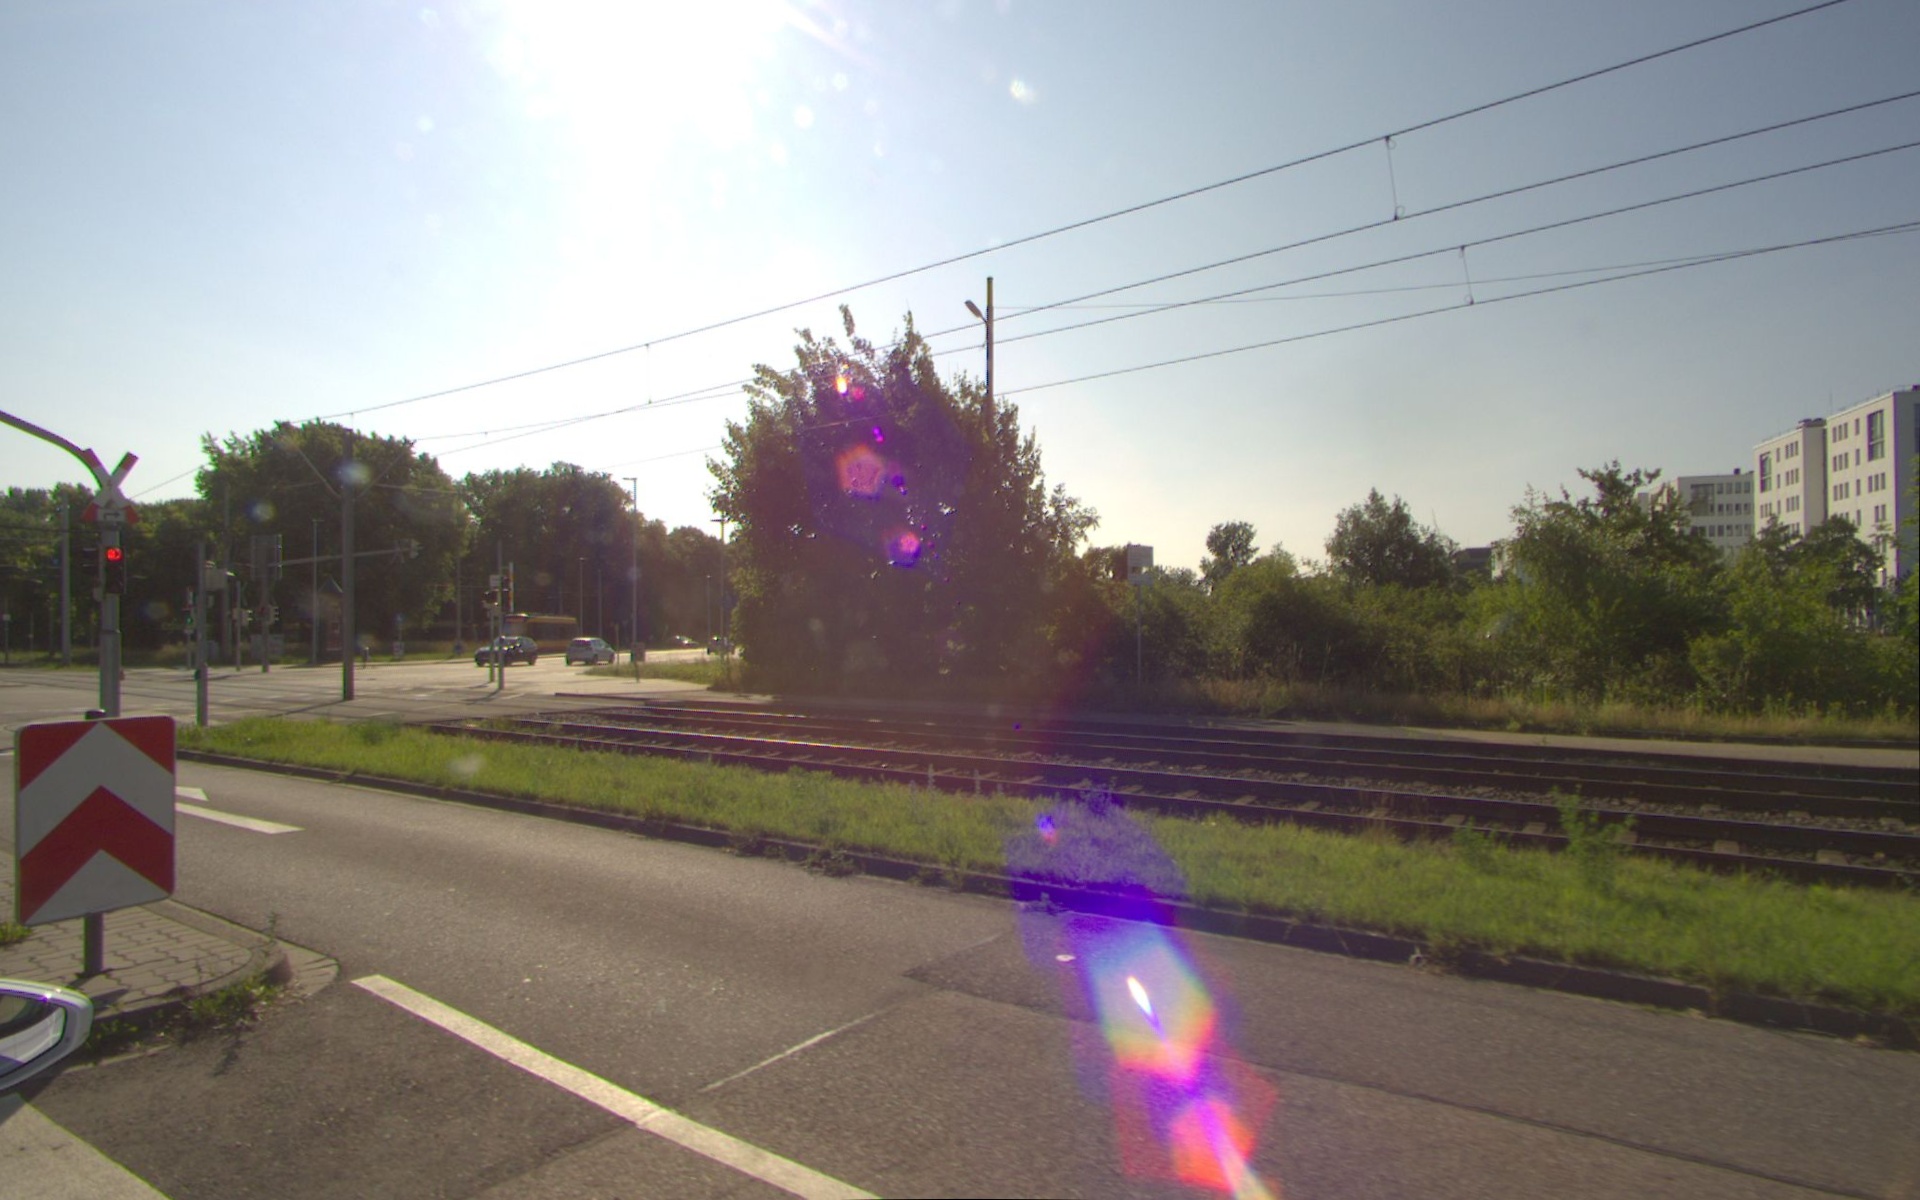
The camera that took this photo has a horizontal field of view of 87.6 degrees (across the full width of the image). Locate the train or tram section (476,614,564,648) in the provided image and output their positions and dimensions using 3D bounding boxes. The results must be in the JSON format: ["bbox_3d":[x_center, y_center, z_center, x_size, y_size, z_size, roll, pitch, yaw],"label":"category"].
[{"bbox_3d":[-48.848,3.453,110.974,12.065,3.625,3.037,-2,-2,35],"label":"train or tram section"}]

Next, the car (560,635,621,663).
[{"bbox_3d":[-22.403,2.947,60.866,1.820,1.582,4.205,0,-2,6],"label":"car"}]

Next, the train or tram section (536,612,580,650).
[{"bbox_3d":[-41.067,3.171,102.027,3.008,3.625,12.180,0,-2,-27],"label":"train or tram section"}]

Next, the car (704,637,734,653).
[{"bbox_3d":[-21.045,3.934,87.705,1.575,1.401,3.531,0,-2,4],"label":"car"}]

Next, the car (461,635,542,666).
[{"bbox_3d":[-25.865,2.819,56.682,2.005,1.583,4.862,0,-1,6],"label":"car"}]

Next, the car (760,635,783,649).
[{"bbox_3d":[-20.060,4.485,106.592,1.575,1.401,3.530,-1,-1,4],"label":"car"}]

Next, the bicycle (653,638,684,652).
[{"bbox_3d":[-32.400,5.021,111.412,3.168,1.472,1.131,-1,-2,11],"label":"bicycle"}]

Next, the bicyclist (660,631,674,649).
[{"bbox_3d":[-32.566,4.431,111.450,1.078,2.039,1.140,-1,-2,10],"label":"bicyclist"}]

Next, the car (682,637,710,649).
[{"bbox_3d":[-30.045,4.880,114.249,1.716,1.352,4.308,0,-2,6],"label":"car"}]

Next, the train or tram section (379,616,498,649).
[{"bbox_3d":[-59.737,3.704,114.912,11.992,3.625,3.055,0,-1,0],"label":"train or tram section"}]

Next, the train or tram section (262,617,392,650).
[{"bbox_3d":[-71.471,3.725,113.483,12.025,3.625,3.047,0,-1,-21],"label":"train or tram section"}]

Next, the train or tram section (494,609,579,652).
[{"bbox_3d":[-38.019,2.738,90.407,2.994,3.625,11.856,0,-2,-2],"label":"train or tram section"}]

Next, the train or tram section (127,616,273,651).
[{"bbox_3d":[-82.302,3.619,108.829,12.246,3.625,3.043,0,-1,-26],"label":"train or tram section"}]

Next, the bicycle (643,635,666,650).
[{"bbox_3d":[-36.025,4.977,118.117,2.562,1.735,0.795,0,-1,-2],"label":"bicycle"}]
